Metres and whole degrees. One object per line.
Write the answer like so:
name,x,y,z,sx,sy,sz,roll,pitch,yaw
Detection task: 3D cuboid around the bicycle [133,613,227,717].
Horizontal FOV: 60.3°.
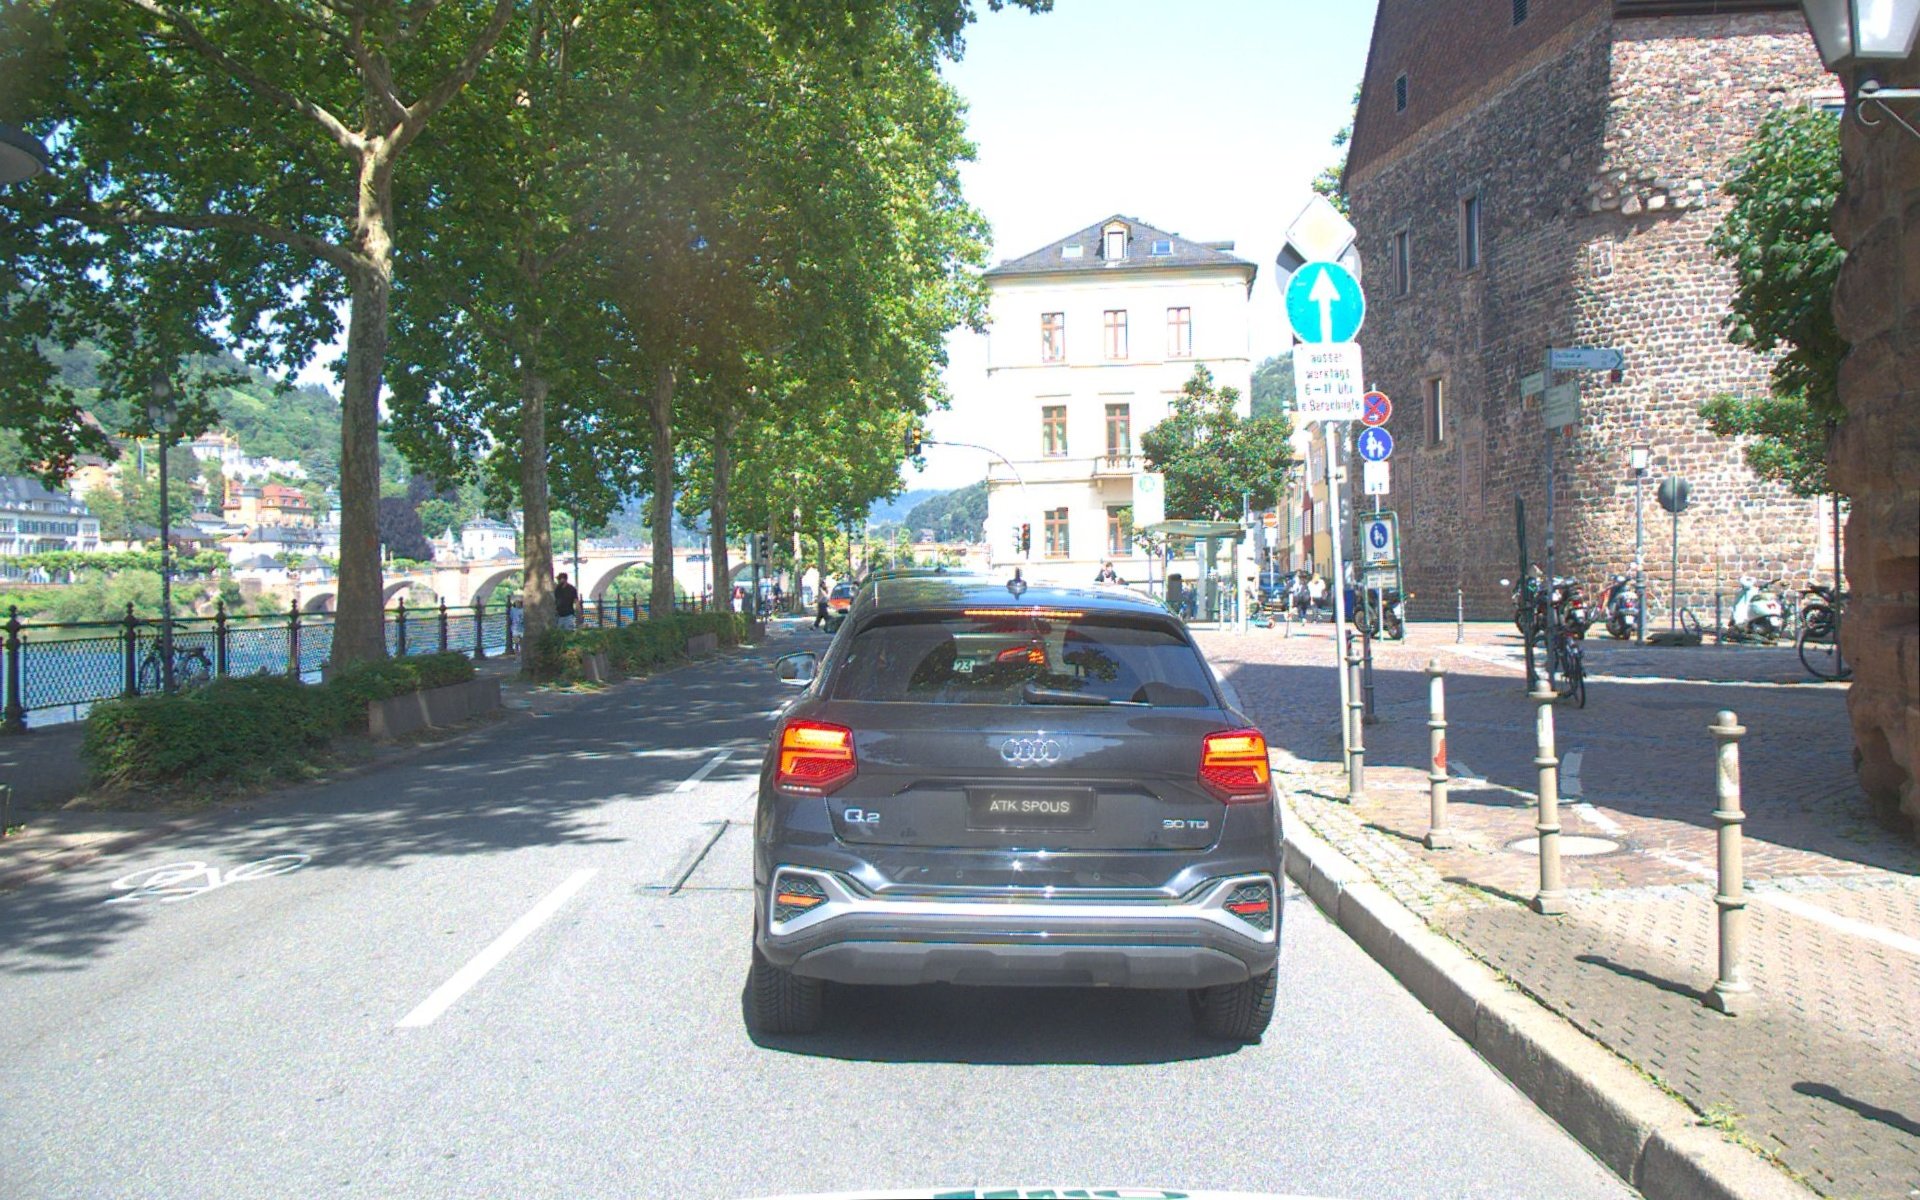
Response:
bicycle,-9.570,0.775,20.339,0.350,1.182,1.825,-2,0,-4

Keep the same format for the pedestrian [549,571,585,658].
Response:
pedestrian,-8.179,0.297,34.414,0.552,1.772,0.665,-2,0,-4

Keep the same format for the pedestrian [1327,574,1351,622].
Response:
pedestrian,12.436,-0.072,54.303,0.644,1.544,0.627,1,0,1

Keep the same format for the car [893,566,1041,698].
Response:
car,0.074,0.378,22.157,1.764,1.549,3.715,-2,0,-1

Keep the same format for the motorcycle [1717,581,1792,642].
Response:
motorcycle,14.133,0.192,29.464,0.488,1.037,1.701,1,0,-1

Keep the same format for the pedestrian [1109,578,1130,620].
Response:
pedestrian,4.657,-0.038,48.305,0.535,1.222,0.522,1,0,0

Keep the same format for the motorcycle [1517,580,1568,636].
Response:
motorcycle,10.569,0.146,30.058,0.427,0.990,1.359,1,0,-1

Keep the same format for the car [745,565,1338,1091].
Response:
car,0.184,0.652,6.626,1.713,1.520,3.628,1,0,-2

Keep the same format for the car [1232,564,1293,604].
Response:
car,13.861,-0.708,75.994,1.953,1.746,3.999,1,0,-1

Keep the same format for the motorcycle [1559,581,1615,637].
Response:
motorcycle,11.396,0.162,30.093,0.449,0.990,1.466,1,0,-1

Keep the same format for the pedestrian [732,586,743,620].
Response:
pedestrian,-9.729,0.124,72.427,0.401,1.450,0.457,1,0,-3

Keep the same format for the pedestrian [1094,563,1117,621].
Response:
pedestrian,4.027,-0.213,45.778,0.545,1.585,0.660,0,0,0

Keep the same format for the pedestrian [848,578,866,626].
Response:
pedestrian,-3.474,0.074,55.623,0.545,1.585,0.660,0,0,0

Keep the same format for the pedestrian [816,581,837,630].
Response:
pedestrian,-4.525,0.191,55.986,0.534,1.628,0.660,1,0,10

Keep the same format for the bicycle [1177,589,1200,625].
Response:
bicycle,6.543,0.191,47.309,0.441,0.992,1.399,1,0,-1

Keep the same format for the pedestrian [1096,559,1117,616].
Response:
pedestrian,4.341,-0.374,49.000,0.545,1.661,0.660,0,0,0

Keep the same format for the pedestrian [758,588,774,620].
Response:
pedestrian,-8.183,0.165,69.684,0.579,1.301,0.525,1,0,-1

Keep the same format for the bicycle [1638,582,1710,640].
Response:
bicycle,12.781,0.184,29.654,0.395,1.007,1.825,1,0,-4

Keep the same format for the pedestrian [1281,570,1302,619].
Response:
pedestrian,11.360,-0.188,56.752,0.535,1.663,0.660,1,0,-3

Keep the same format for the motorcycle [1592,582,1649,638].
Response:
motorcycle,12.172,0.175,30.506,0.449,0.990,1.466,1,0,-1

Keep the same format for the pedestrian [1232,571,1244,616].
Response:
pedestrian,10.339,-0.224,61.496,0.363,1.663,0.468,1,0,17

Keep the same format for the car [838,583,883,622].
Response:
car,-4.169,0.093,69.751,1.581,1.549,3.477,-2,0,1

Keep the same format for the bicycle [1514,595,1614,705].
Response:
bicycle,6.139,0.478,16.893,0.485,1.048,2.052,-1,0,7

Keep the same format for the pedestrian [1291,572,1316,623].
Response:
pedestrian,10.474,-0.074,50.427,0.644,1.519,0.548,1,0,1

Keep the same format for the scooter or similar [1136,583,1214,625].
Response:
scooter or similar,5.180,0.101,39.821,1.808,0.980,0.429,1,0,-2

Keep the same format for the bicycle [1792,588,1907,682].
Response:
bicycle,10.577,0.393,19.738,0.485,1.048,2.052,1,0,7

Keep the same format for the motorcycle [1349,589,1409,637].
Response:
motorcycle,7.661,0.219,30.295,0.474,0.832,2.279,-2,0,0

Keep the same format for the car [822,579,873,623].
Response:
car,-4.204,0.004,62.398,1.581,1.549,3.477,-2,0,1

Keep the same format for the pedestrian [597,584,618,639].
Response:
pedestrian,-10.326,0.326,48.409,0.488,1.564,0.678,-2,0,-8

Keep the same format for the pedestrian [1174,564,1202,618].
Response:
pedestrian,6.702,-0.261,48.550,0.731,1.585,0.588,0,0,0

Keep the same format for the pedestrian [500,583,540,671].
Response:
pedestrian,-8.852,0.530,33.306,0.632,1.747,0.665,1,0,-4

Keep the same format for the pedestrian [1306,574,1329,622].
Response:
pedestrian,11.731,-0.069,54.299,0.644,1.544,0.548,1,0,1

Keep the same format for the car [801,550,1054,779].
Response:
car,-0.243,0.451,13.566,1.764,1.590,3.715,1,0,-1

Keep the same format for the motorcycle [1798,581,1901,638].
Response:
motorcycle,16.984,0.181,31.601,1.659,1.037,0.500,1,0,12

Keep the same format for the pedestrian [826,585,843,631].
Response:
pedestrian,-4.315,0.271,56.901,0.545,1.585,0.660,0,0,0
